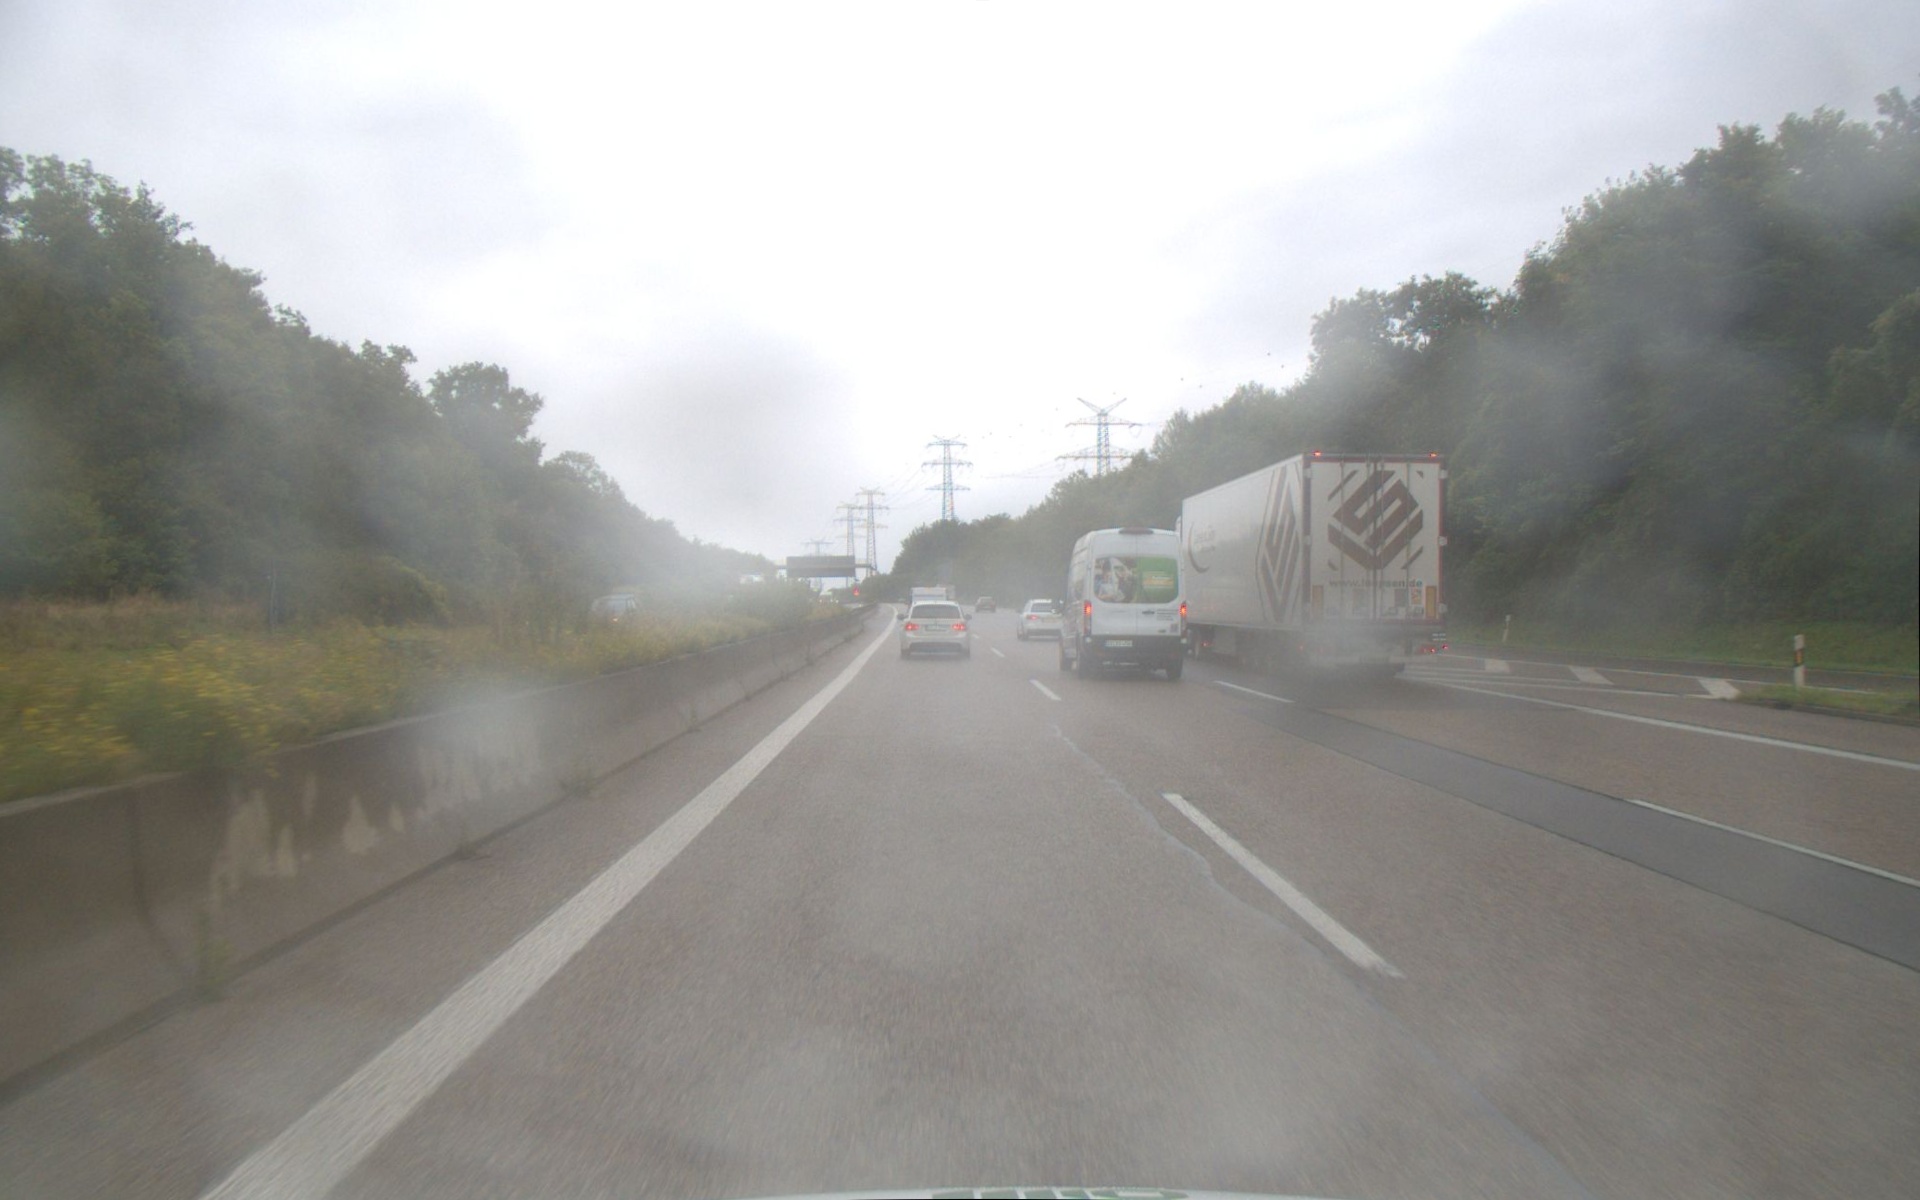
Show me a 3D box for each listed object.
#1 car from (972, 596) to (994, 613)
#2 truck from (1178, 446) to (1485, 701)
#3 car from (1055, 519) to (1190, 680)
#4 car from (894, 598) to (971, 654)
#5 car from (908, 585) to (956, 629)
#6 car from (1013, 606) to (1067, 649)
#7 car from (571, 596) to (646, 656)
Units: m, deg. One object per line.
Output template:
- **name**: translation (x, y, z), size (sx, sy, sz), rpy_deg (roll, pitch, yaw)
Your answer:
- **car**: translation (2.215, 0.453, 157.656), size (1.952, 1.512, 4.001), rpy_deg (-3, -1, 2)
- **truck**: translation (7.352, -0.398, 35.438), size (3.529, 4.408, 13.198), rpy_deg (-1, -1, 0)
- **car**: translation (3.092, -0.010, 32.325), size (1.954, 2.914, 3.997), rpy_deg (1, 0, -4)
- **car**: translation (-0.685, 0.622, 41.836), size (1.828, 1.310, 3.999), rpy_deg (1, 0, -1)
- **car**: translation (-1.193, 0.301, 71.600), size (1.807, 1.803, 4.001), rpy_deg (1, 0, 3)
- **car**: translation (2.854, 0.938, 58.315), size (1.818, 1.447, 4.002), rpy_deg (0, 0, 3)
- **car**: translation (-12.702, 0.897, 60.096), size (1.954, 2.049, 4.747), rpy_deg (-1, 0, -3)
